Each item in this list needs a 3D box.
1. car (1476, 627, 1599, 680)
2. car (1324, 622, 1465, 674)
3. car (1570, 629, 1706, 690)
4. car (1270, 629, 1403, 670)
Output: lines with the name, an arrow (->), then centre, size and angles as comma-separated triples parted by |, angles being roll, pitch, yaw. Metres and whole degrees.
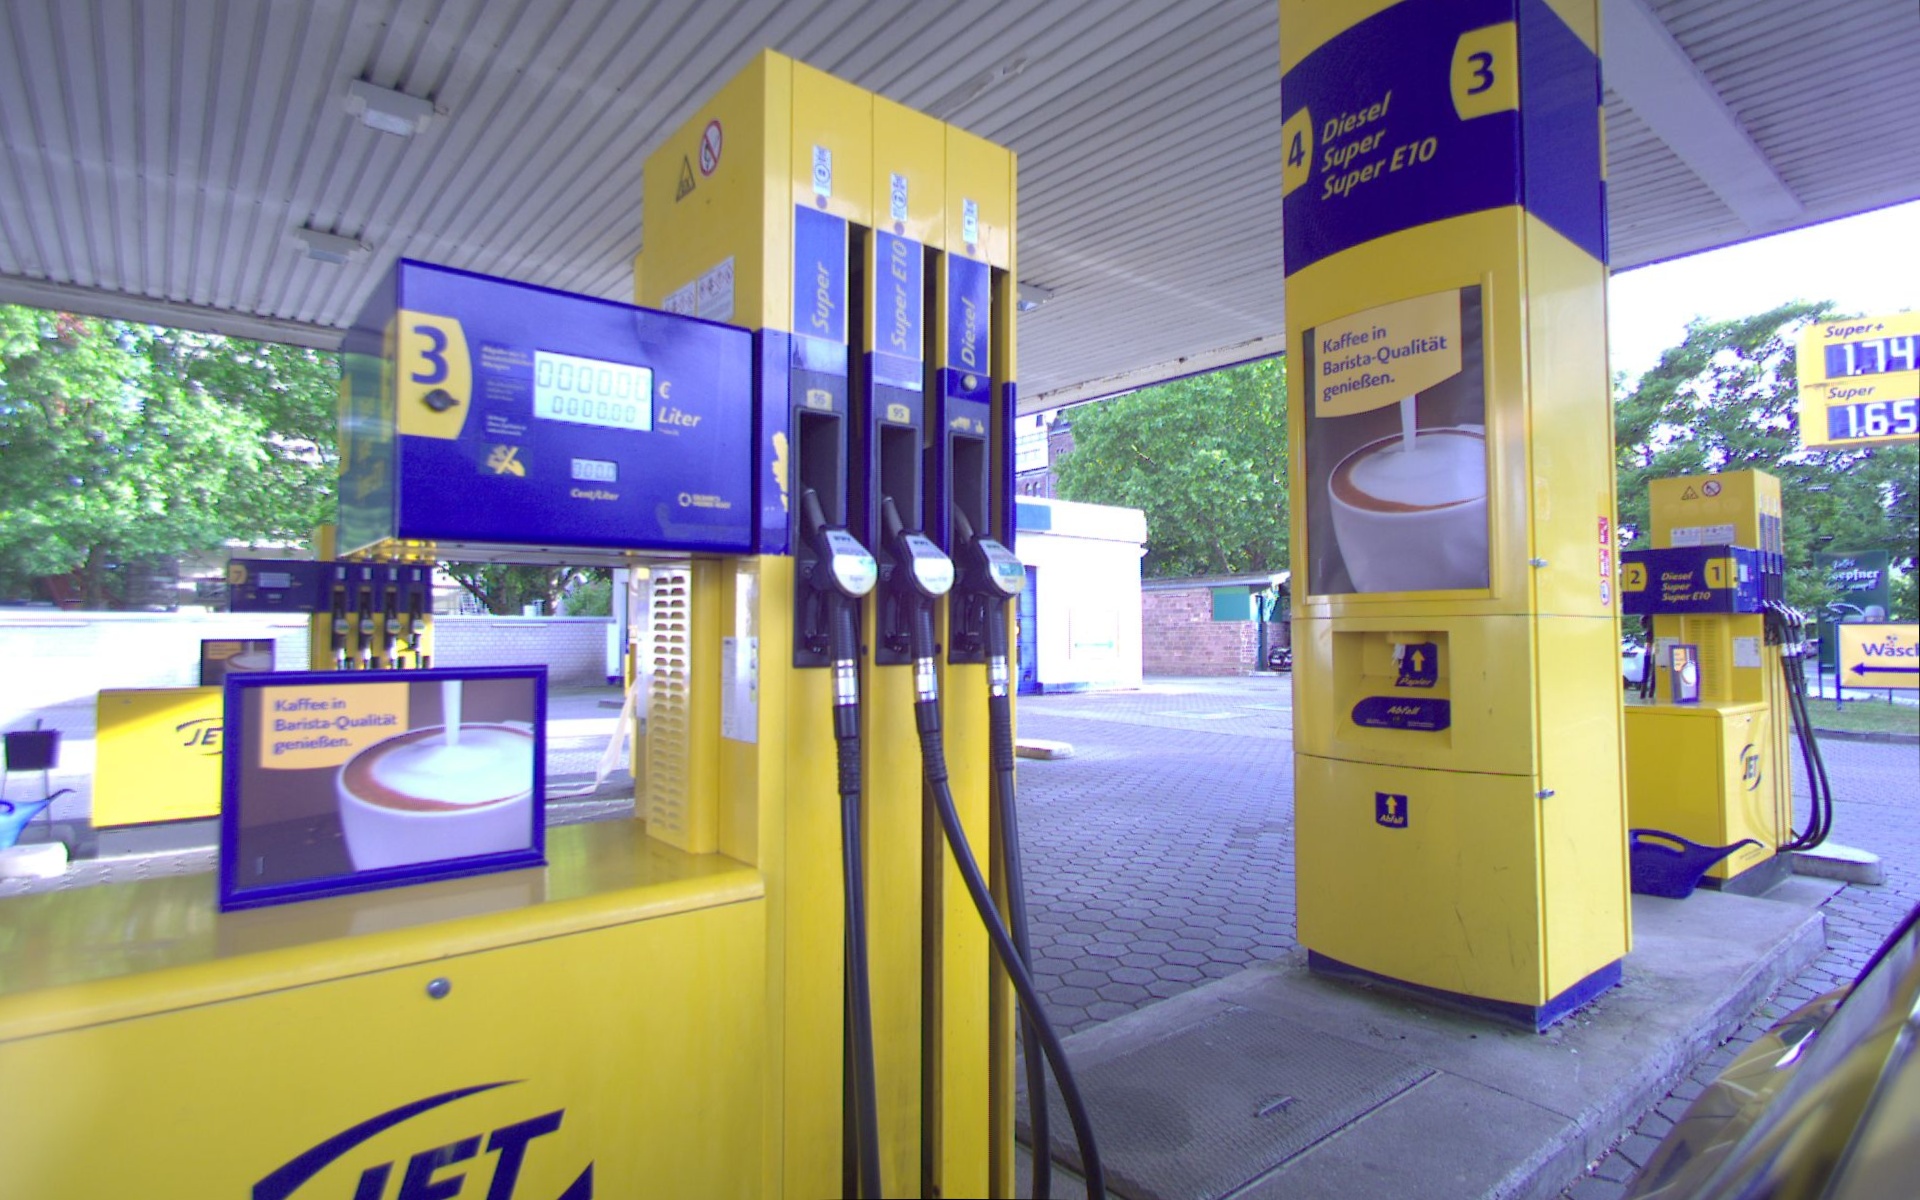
car -> 17.563, 1.638, 30.755 | 3.923, 1.529, 1.740 | 3, -3, -35
car -> 13.796, 1.545, 32.154 | 4.134, 1.544, 1.791 | 2, -3, -24
car -> 18.228, 1.559, 27.167 | 3.923, 1.529, 1.740 | 2, -3, -35
car -> 12.837, 1.696, 34.503 | 4.134, 1.294, 1.751 | 2, -3, -22
